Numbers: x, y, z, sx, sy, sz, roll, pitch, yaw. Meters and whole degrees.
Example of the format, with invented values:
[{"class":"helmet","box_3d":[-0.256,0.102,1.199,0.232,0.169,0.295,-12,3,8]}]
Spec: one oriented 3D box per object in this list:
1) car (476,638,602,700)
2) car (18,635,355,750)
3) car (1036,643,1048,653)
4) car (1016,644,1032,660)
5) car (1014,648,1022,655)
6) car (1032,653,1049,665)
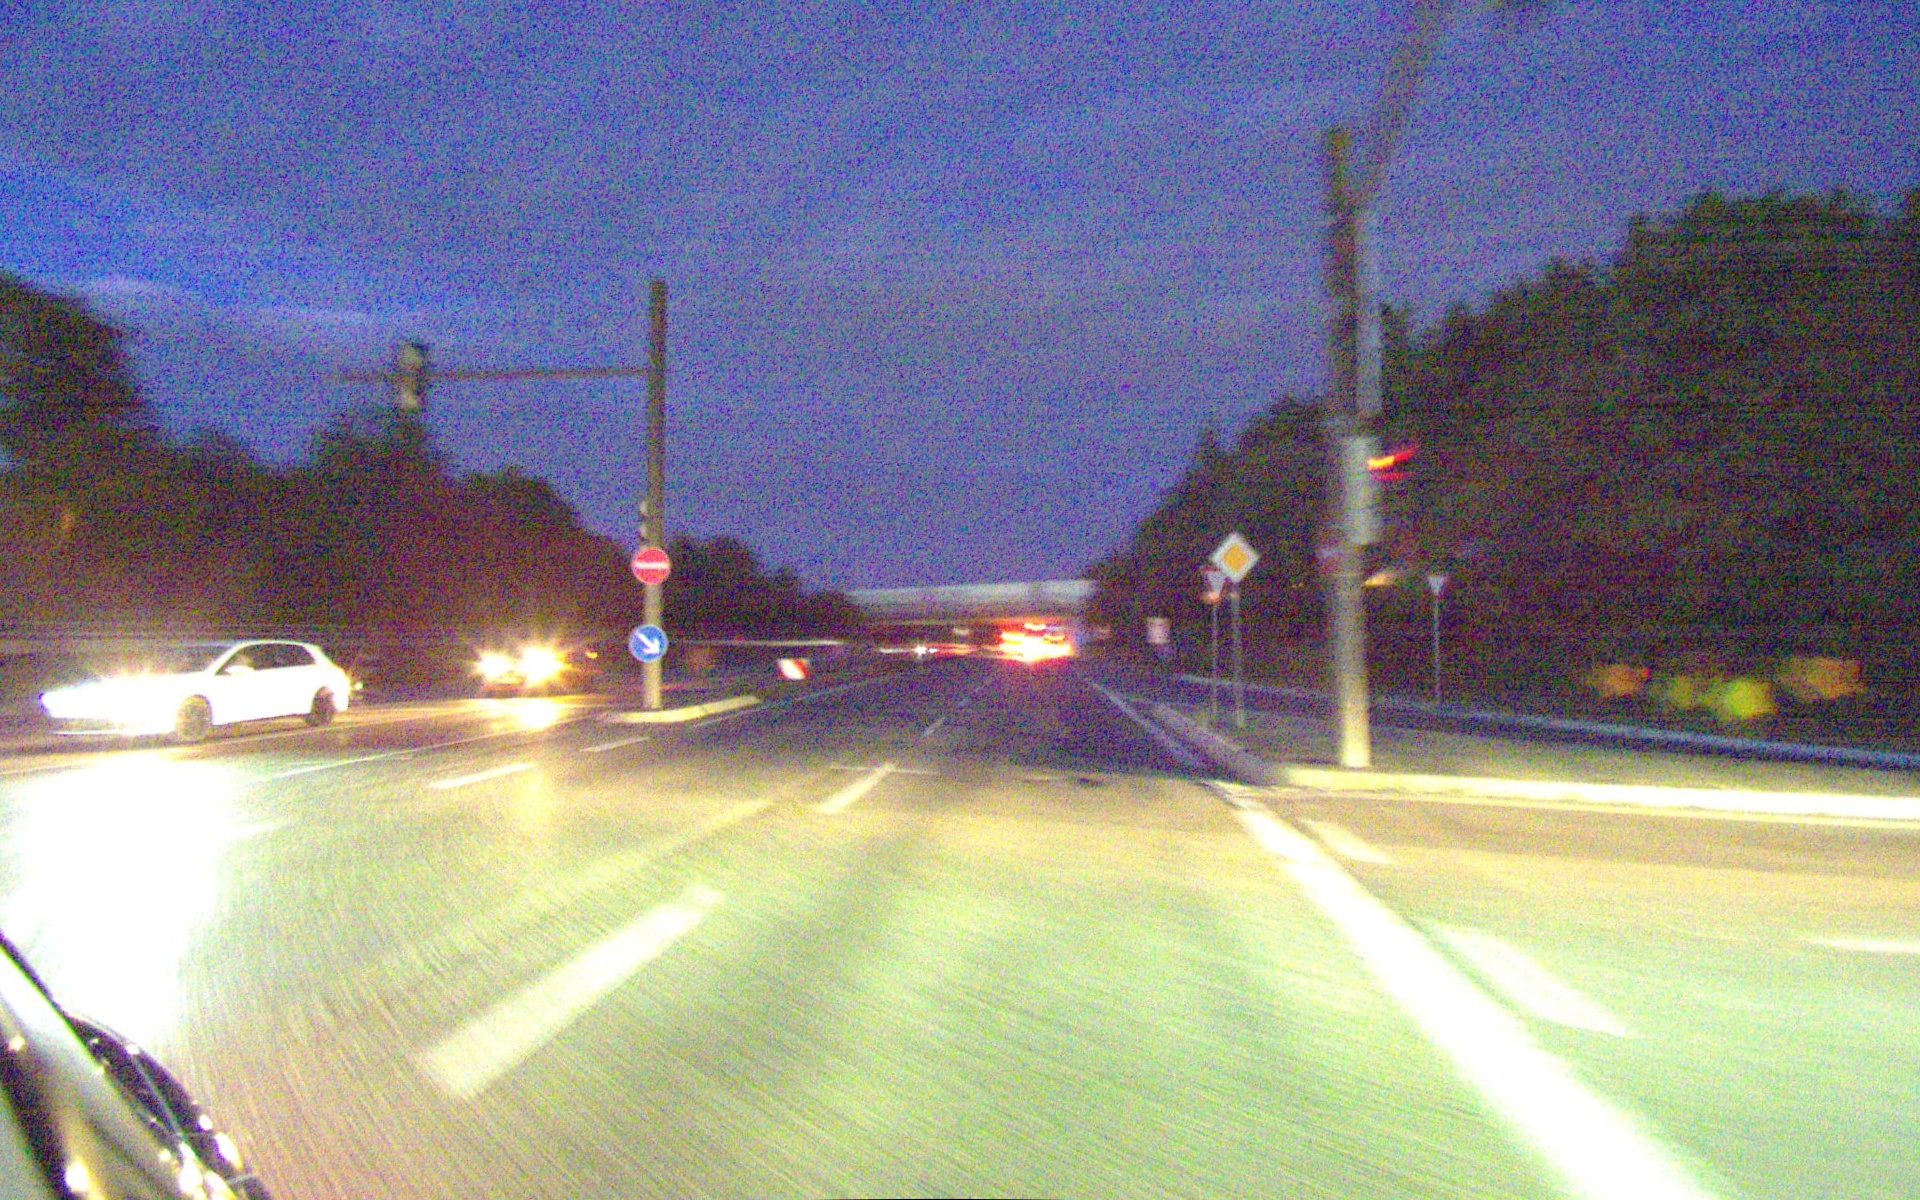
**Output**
[{"class":"car","box_3d":[-10.826,1.753,26.250,1.637,1.462,3.484,-2,-3,4]},{"class":"car","box_3d":[-11.464,1.315,15.442,1.741,1.470,4.186,-2,-3,4]},{"class":"car","box_3d":[13.764,8.078,170.063,2.101,1.643,4.691,0,-3,4]},{"class":"car","box_3d":[6.397,5.185,100.447,1.530,1.531,3.510,1,-2,5]},{"class":"car","box_3d":[12.820,11.374,223.805,1.907,1.531,3.995,0,-3,4]},{"class":"car","box_3d":[10.761,7.802,134.985,1.937,1.498,4.688,1,-2,7]}]
